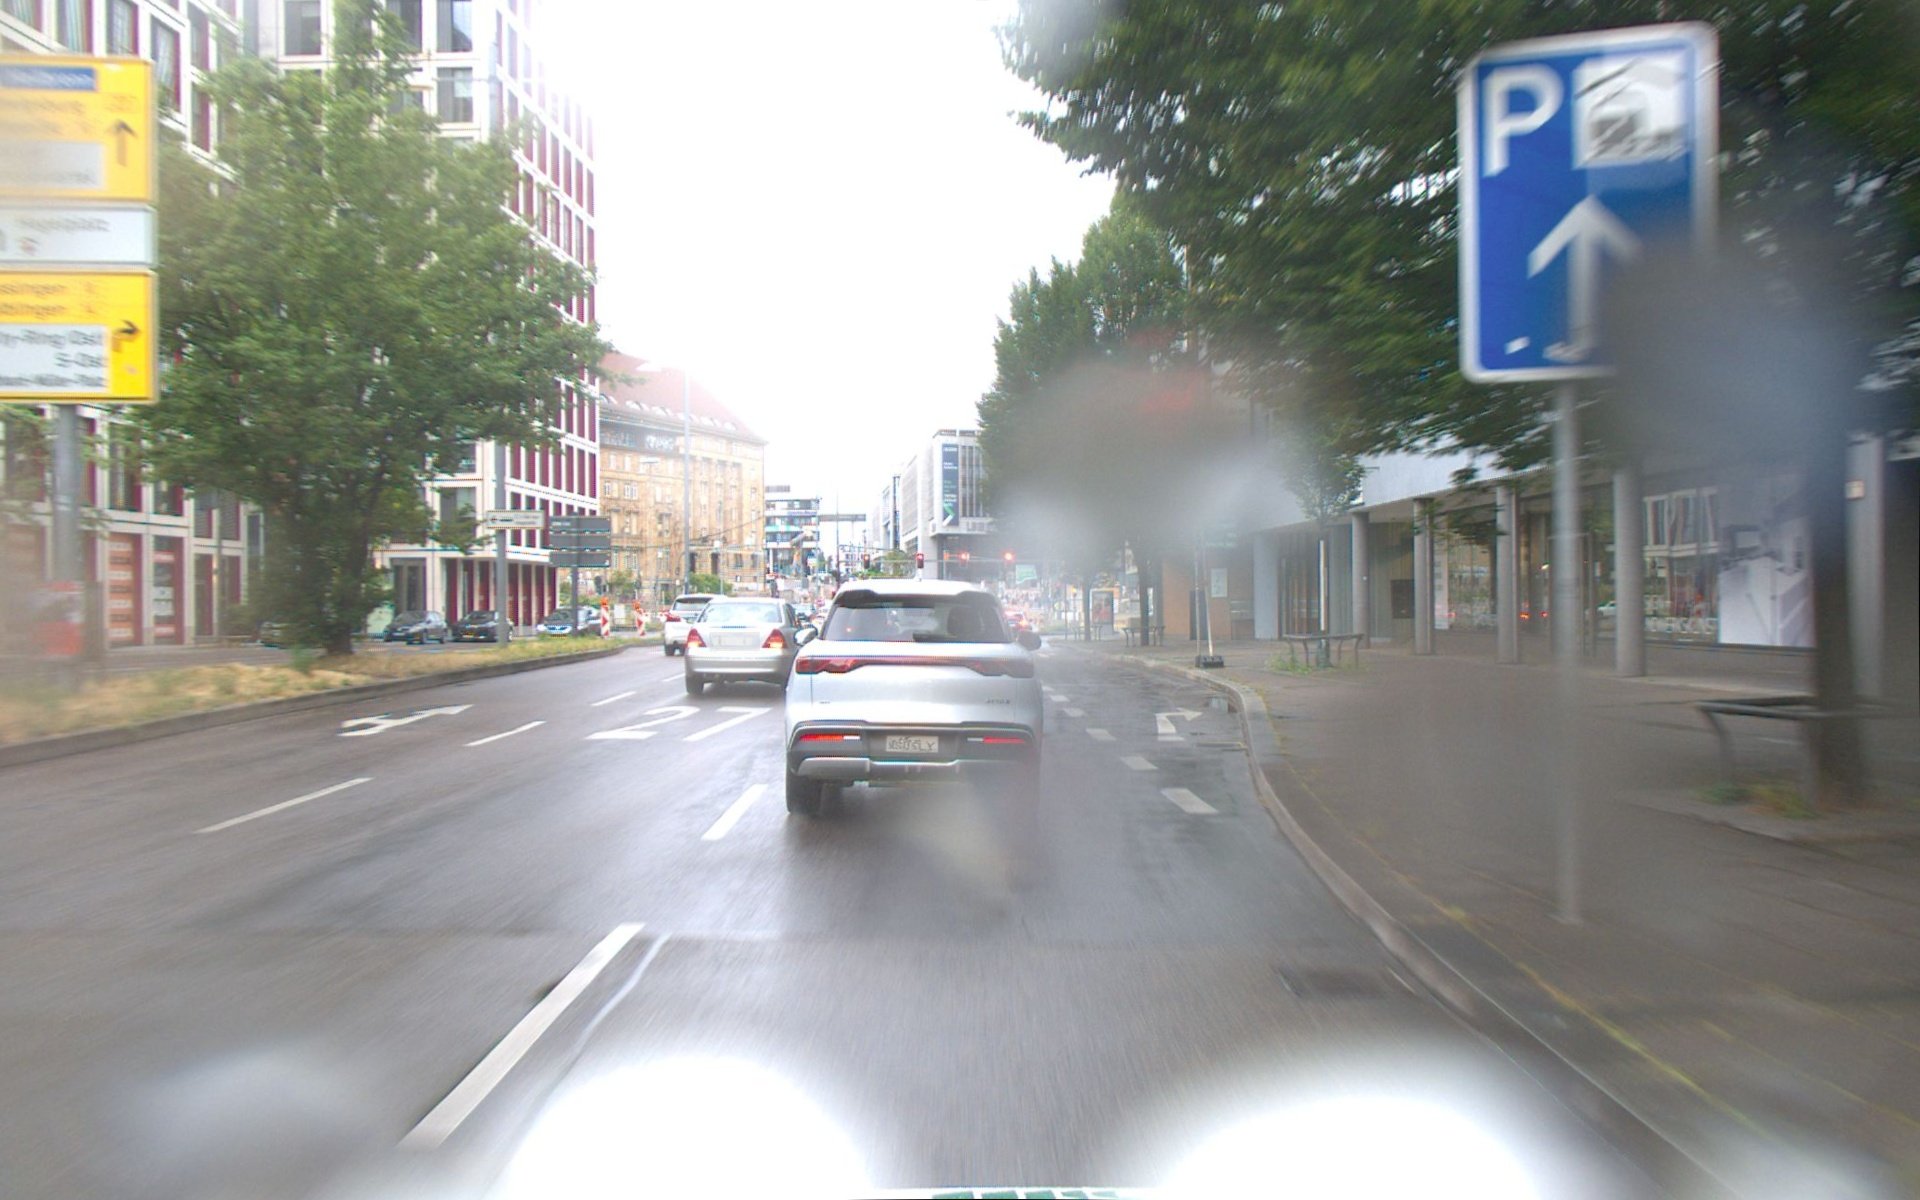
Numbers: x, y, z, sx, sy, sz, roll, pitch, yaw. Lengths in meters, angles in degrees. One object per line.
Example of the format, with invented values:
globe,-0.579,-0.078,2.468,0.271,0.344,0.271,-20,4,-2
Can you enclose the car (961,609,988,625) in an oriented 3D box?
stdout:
car,1.667,2.017,194.922,1.964,1.848,3.977,1,-2,-19

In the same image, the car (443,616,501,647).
car,-24.219,1.573,82.262,1.663,1.449,3.955,-2,-1,0

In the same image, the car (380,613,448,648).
car,-24.070,1.338,73.012,1.663,1.449,3.955,-2,-1,0

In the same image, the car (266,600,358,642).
car,-24.034,0.788,61.531,1.663,1.449,4.373,-2,-1,0

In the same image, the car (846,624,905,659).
car,-3.838,1.903,76.170,1.847,1.541,5.005,1,-2,7

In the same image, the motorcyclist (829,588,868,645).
motorcyclist,-2.975,0.453,44.359,0.922,1.501,1.100,1,-2,2

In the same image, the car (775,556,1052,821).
car,-0.370,0.630,12.804,1.772,1.690,4.168,1,-2,-2

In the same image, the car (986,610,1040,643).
car,2.685,1.352,83.377,1.851,1.571,3.995,0,-2,15

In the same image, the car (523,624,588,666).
car,-16.566,1.847,67.934,1.790,1.661,4.869,1,-2,-5

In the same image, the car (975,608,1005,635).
car,1.971,1.413,105.972,1.746,1.628,4.487,1,-2,3

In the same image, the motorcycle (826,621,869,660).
motorcycle,-2.993,1.066,44.340,0.922,1.007,2.294,1,-1,2

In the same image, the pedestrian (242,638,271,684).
pedestrian,-27.068,2.333,63.642,0.599,1.765,0.967,1,-2,5

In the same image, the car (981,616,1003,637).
car,3.258,2.695,168.916,1.954,2.049,3.997,1,-2,-3

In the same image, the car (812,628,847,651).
car,-8.056,2.453,102.585,1.746,1.397,3.993,1,-2,2

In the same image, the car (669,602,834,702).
car,-3.181,0.813,26.076,1.696,1.428,4.385,1,-2,5

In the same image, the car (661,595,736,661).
car,-6.845,0.760,43.649,1.699,1.644,3.994,1,-2,-6
